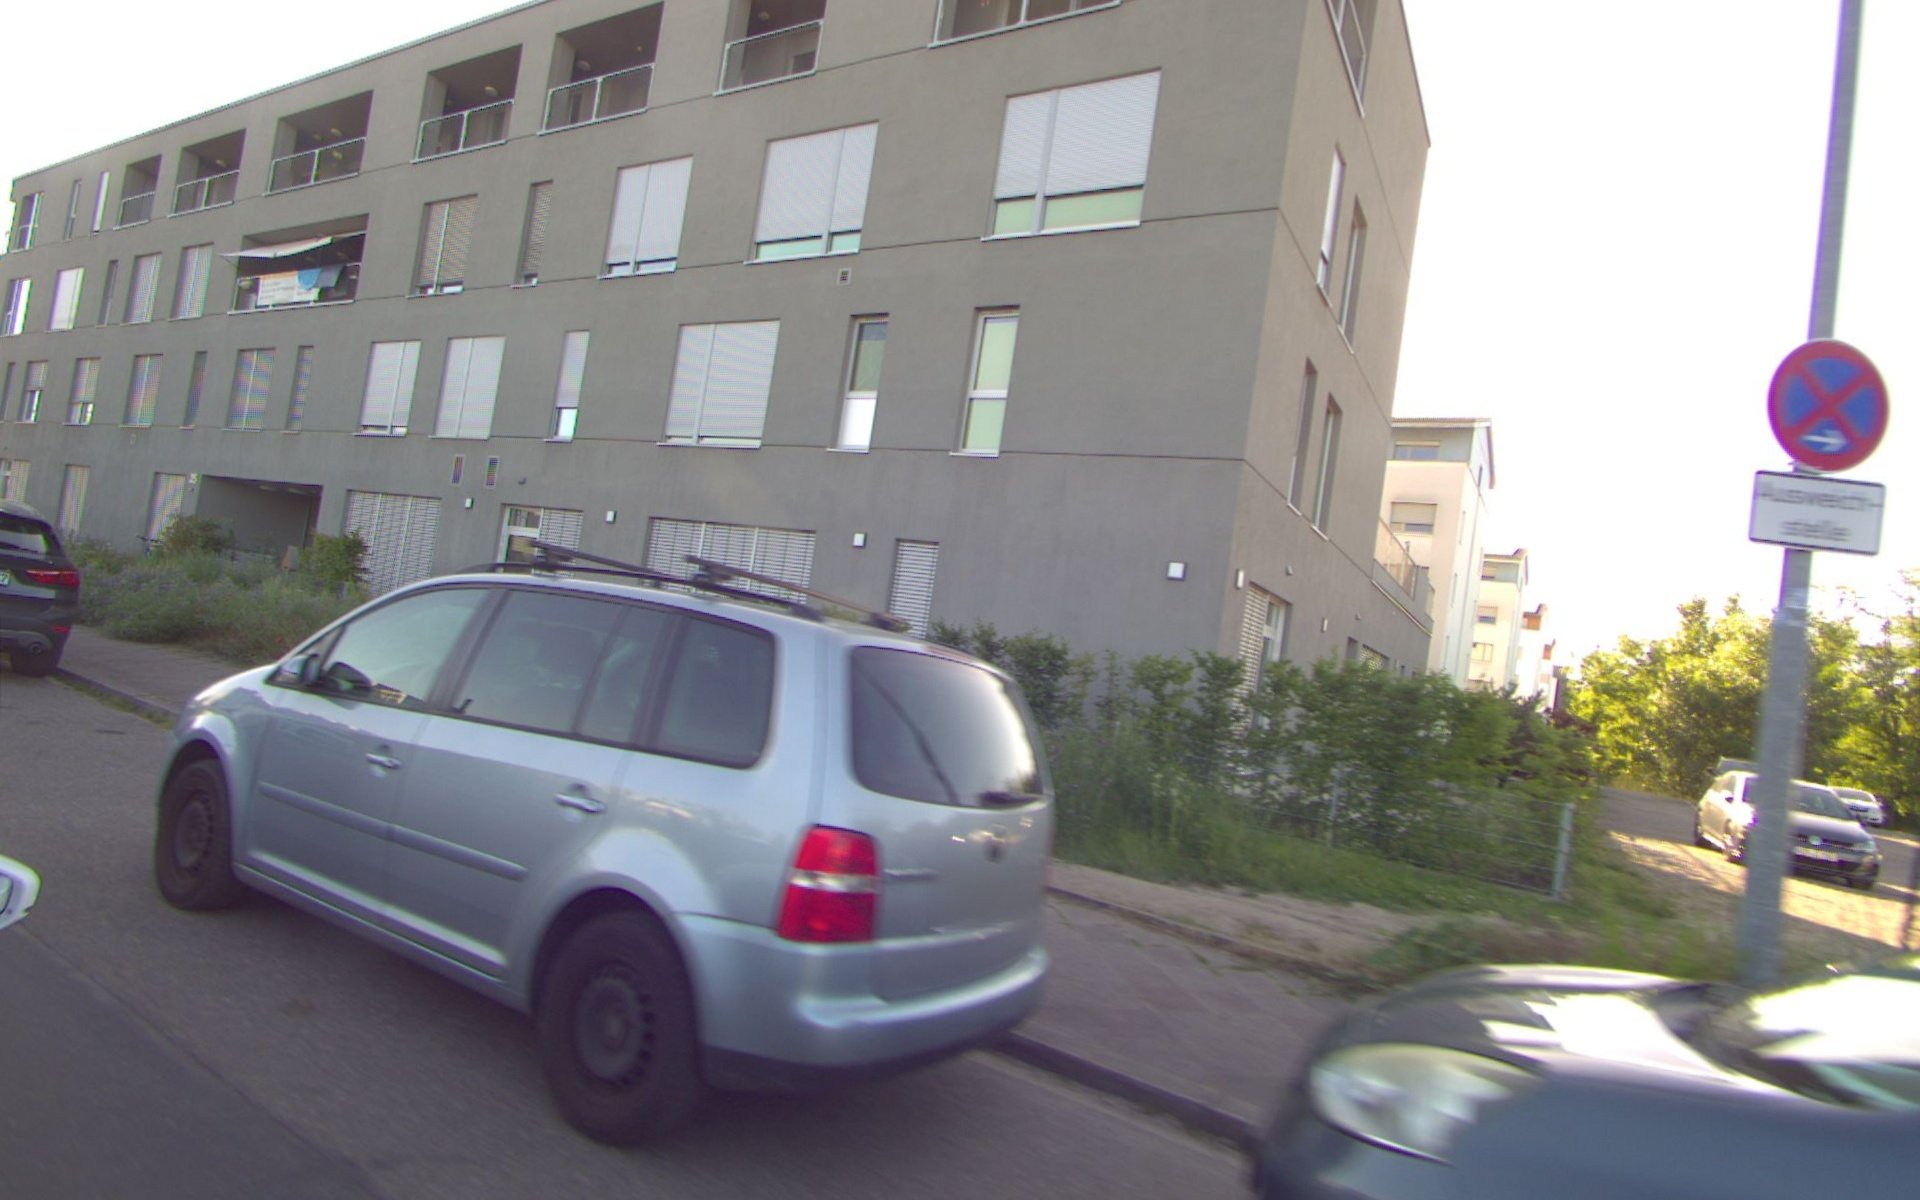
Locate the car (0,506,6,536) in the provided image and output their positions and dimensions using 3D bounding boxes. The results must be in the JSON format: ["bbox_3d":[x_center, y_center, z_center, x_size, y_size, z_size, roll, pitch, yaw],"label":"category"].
[{"bbox_3d":[-48.901,-4.192,48.953,1.427,1.475,3.225,7,-5,34],"label":"car"}]

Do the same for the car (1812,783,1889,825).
[{"bbox_3d":[35.833,8.182,40.571,1.661,1.100,3.884,7,-2,33],"label":"car"}]

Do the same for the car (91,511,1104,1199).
[{"bbox_3d":[-1.707,0.734,4.329,4.109,1.624,1.683,7,-5,31],"label":"car"}]

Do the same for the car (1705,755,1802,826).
[{"bbox_3d":[23.200,5.525,29.541,1.616,1.558,3.897,7,-2,32],"label":"car"}]

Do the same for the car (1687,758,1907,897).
[{"bbox_3d":[13.387,3.554,16.381,1.854,1.543,4.130,7,-3,29],"label":"car"}]

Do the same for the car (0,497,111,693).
[{"bbox_3d":[-10.196,-0.298,9.653,4.109,1.641,1.748,7,-5,32],"label":"car"}]

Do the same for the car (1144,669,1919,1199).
[{"bbox_3d":[2.433,1.226,1.672,3.838,1.541,1.628,7,-5,33],"label":"car"}]
